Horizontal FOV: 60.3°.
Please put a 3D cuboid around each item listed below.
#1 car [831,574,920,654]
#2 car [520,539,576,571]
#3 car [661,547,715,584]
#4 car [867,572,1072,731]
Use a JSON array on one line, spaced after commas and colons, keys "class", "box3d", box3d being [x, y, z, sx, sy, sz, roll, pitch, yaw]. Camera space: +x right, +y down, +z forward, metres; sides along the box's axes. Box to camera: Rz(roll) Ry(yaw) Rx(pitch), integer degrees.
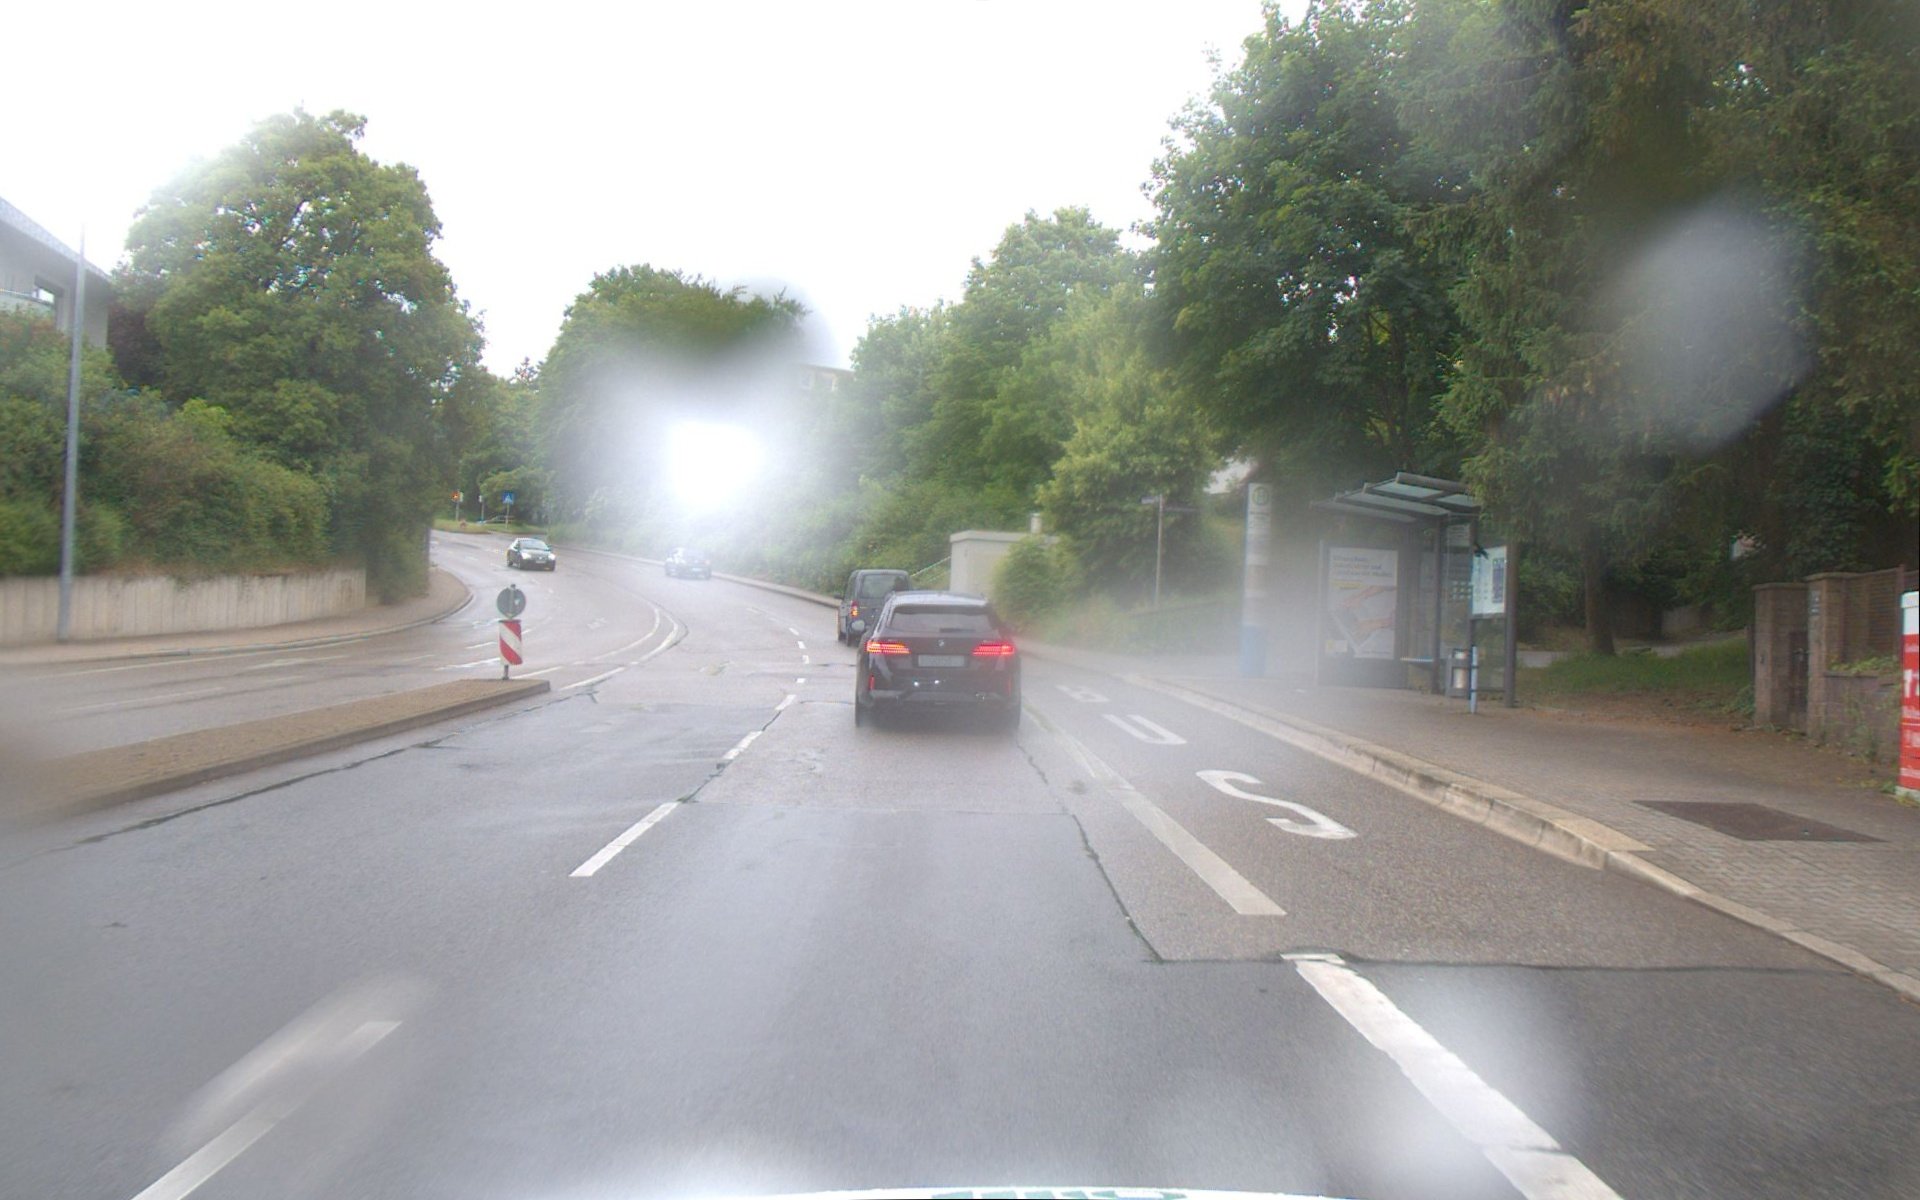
[{"class": "car", "box3d": [-2.147, 0.296, 40.976, 1.955, 1.779, 3.996, 1, 2, -6]}, {"class": "car", "box3d": [-20.632, -2.236, 82.732, 1.869, 1.513, 4.197, 0, 1, -27]}, {"class": "car", "box3d": [-13.479, -1.668, 81.876, 1.825, 1.691, 3.974, 2, -1, -22]}, {"class": "car", "box3d": [-0.018, 0.669, 19.792, 1.955, 1.614, 4.656, 2, -3, -5]}]
